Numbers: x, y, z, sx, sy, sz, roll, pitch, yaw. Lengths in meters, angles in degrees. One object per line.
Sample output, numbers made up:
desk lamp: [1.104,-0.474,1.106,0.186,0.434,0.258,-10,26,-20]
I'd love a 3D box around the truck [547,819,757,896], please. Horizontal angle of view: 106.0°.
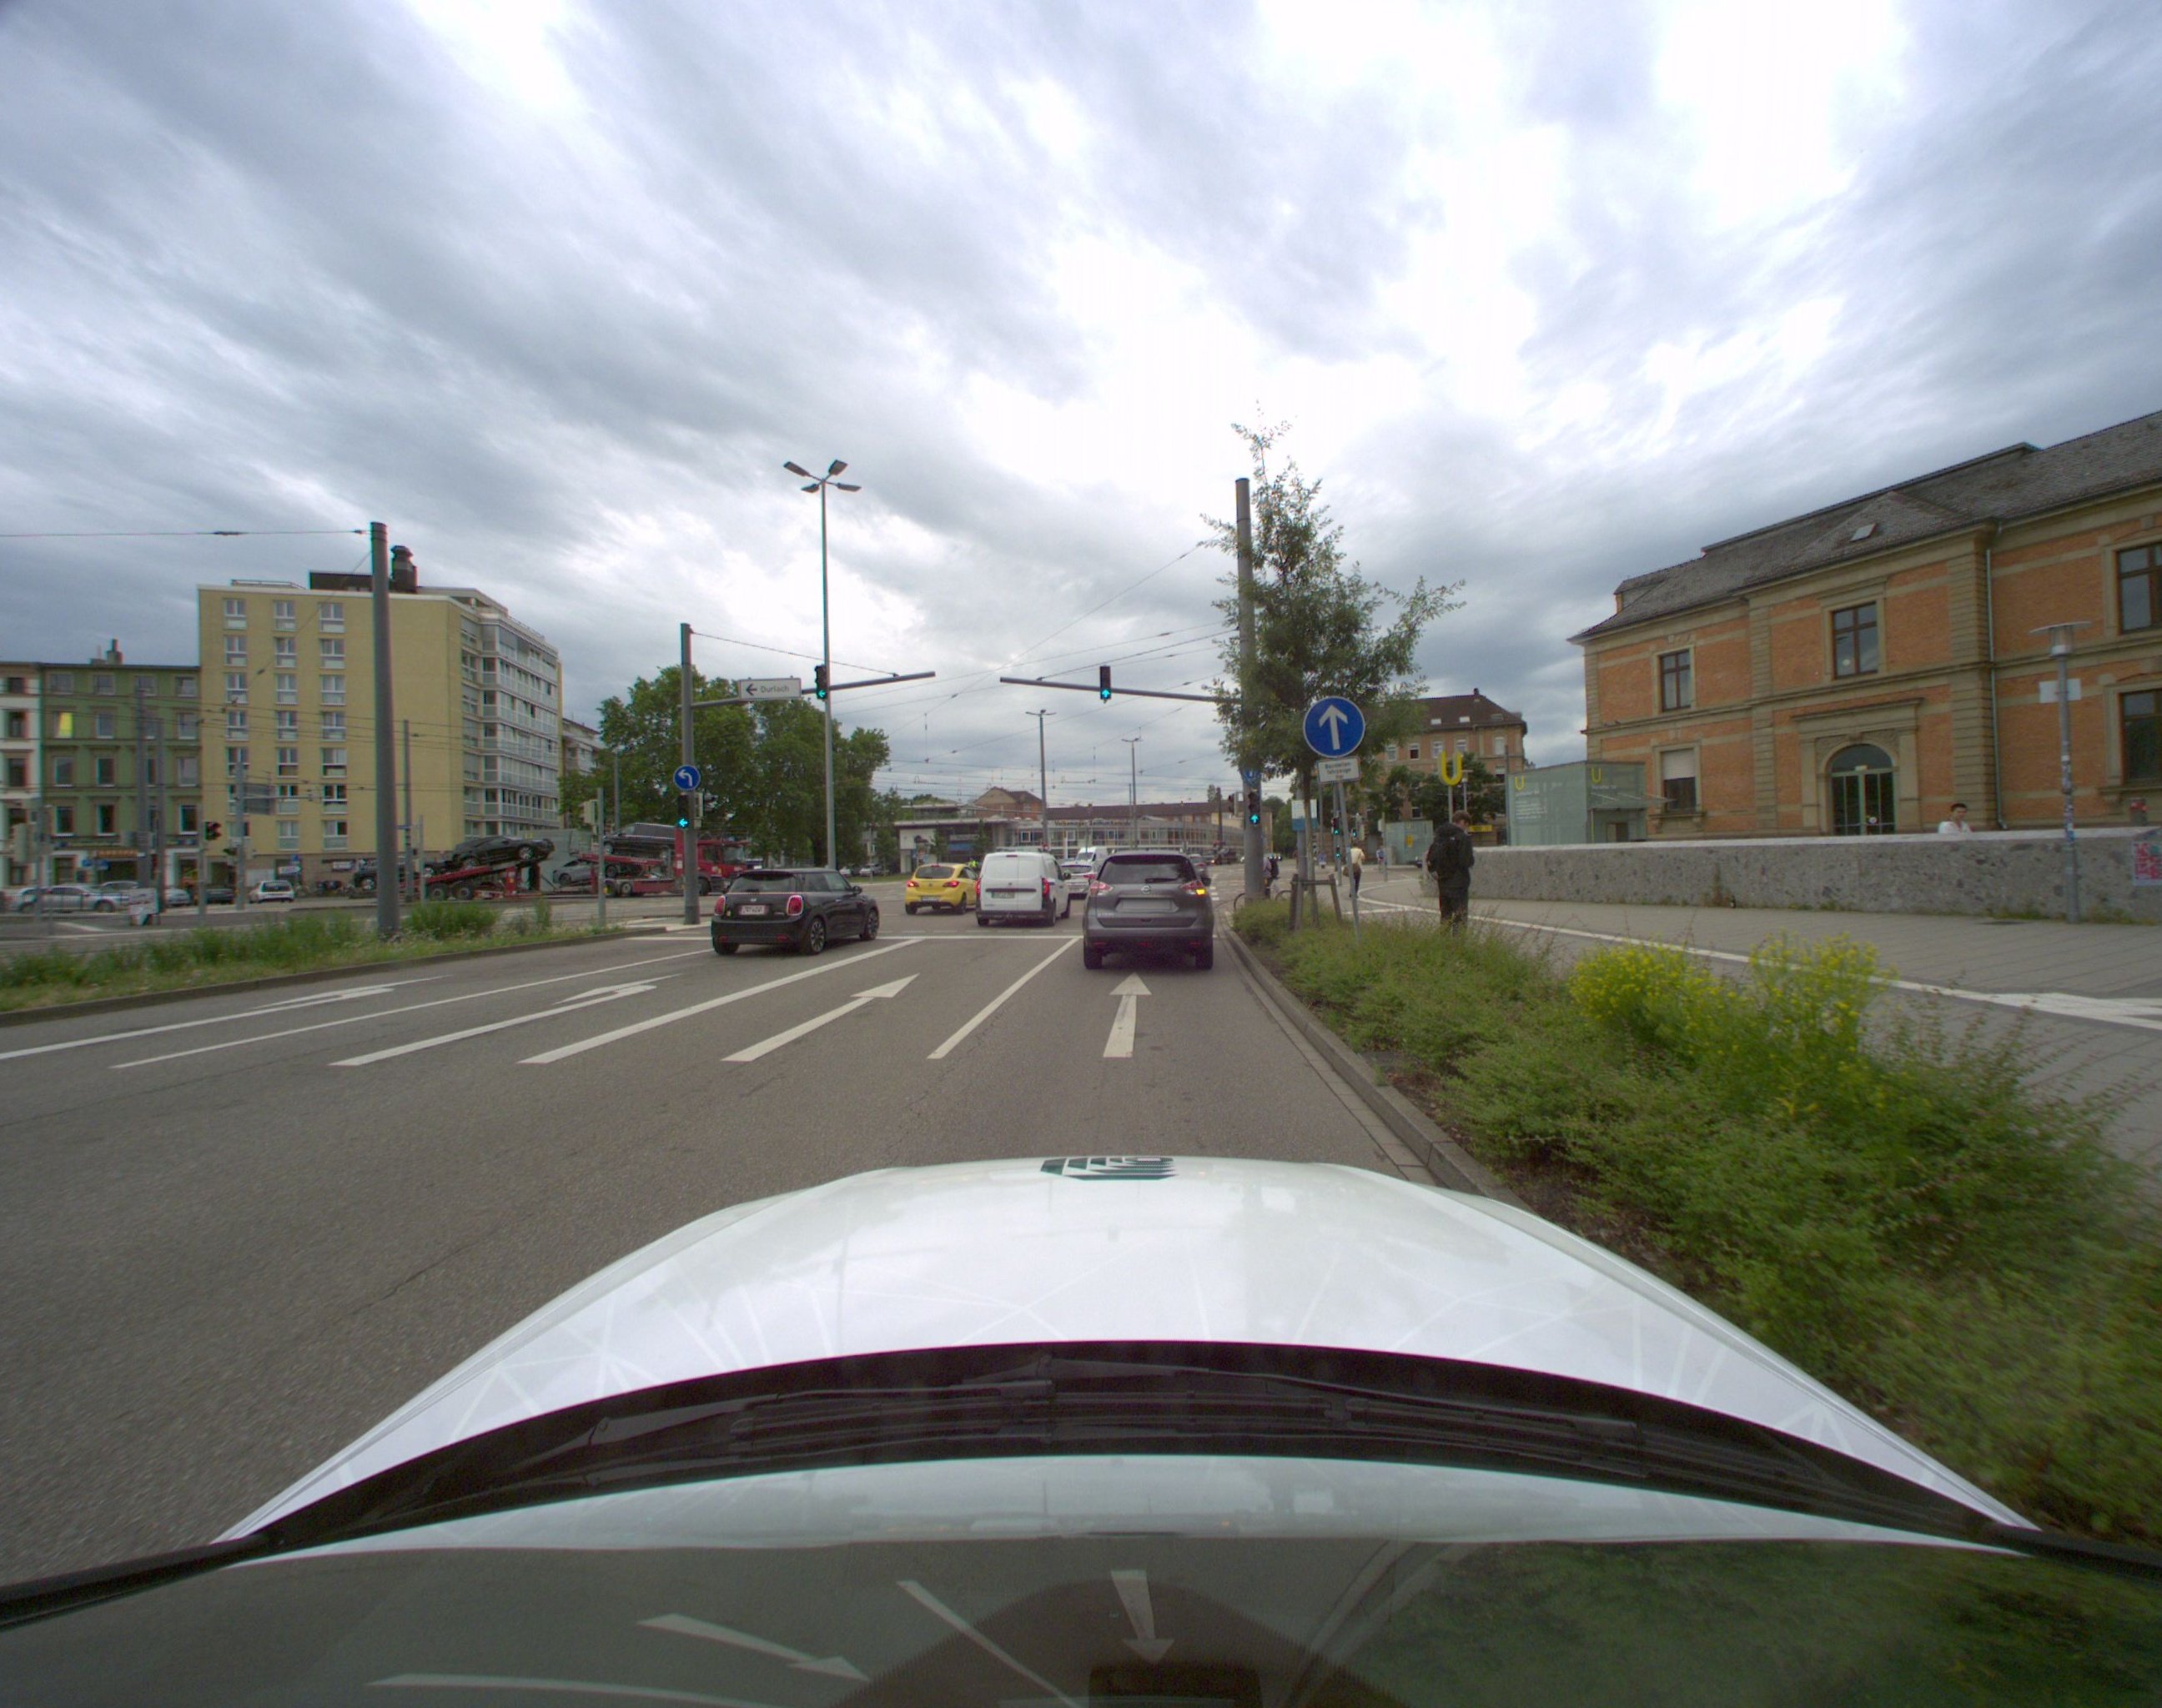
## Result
truck: [-23.157,0.239,44.124,10.356,3.920,3.024,-1,-1,10]

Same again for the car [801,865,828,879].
car: [-38.209,2.565,116.866,1.982,2.014,4.010,-1,-1,9]

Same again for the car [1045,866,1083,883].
car: [-1.558,1.884,76.732,1.977,1.420,4.686,-2,0,20]

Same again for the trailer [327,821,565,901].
trailer: [-33.373,0.345,43.292,9.531,3.973,2.984,0,-1,-13]

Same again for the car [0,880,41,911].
car: [-66.073,2.526,50.158,3.950,1.755,2.094,-1,-1,44]

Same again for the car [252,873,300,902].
car: [-52.276,2.121,52.867,3.950,1.755,2.094,-1,-1,44]

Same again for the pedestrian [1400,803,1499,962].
pedestrian: [4.708,0.346,10.409,0.876,1.928,0.718,-1,-1,-28]

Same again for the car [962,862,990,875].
car: [-12.515,1.757,97.112,1.621,1.420,3.758,-2,0,23]

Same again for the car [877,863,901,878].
car: [-27.204,2.350,115.395,1.982,2.014,4.010,-1,-1,9]

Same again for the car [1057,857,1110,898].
car: [0.158,0.893,32.219,1.845,1.508,4.004,0,-1,4]

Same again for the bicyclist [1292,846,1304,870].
bicyclist: [15.513,0.268,58.217,0.683,1.708,0.800,-2,-1,9]

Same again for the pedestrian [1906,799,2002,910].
pedestrian: [14.738,0.001,13.769,0.702,1.805,0.835,-1,-1,-14]

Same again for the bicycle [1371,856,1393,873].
bicycle: [19.857,0.690,53.686,0.664,0.933,1.871,-6,-2,41]

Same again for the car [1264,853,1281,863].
car: [35.211,0.712,149.578,1.975,1.839,4.550,-2,0,27]

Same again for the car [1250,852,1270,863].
car: [31.348,0.618,142.261,1.974,1.839,4.552,-2,0,32]

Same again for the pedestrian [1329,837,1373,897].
pedestrian: [8.703,0.413,26.202,0.876,1.867,1.294,-2,-1,39]

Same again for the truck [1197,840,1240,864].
truck: [21.663,-0.278,127.630,2.767,3.549,9.282,-1,-1,36]

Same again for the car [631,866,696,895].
car: [-30.294,1.914,59.218,4.002,2.014,1.986,0,-1,-22]

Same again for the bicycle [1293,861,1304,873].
bicycle: [15.529,0.913,58.169,0.615,0.793,1.596,-2,0,9]

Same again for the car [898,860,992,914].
car: [-4.061,0.953,24.952,1.808,1.494,4.007,0,0,6]

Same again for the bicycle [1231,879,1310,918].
bicycle: [4.823,1.131,20.846,1.814,0.840,0.767,-4,-1,1]

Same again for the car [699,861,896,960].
car: [-4.881,0.901,14.662,1.760,1.468,4.007,-2,0,6]

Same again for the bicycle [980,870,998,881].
bicycle: [-8.607,1.995,76.300,0.513,0.926,2.236,-2,0,25]

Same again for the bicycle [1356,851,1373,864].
bicycle: [30.845,0.397,88.557,0.948,1.354,3.140,-1,-1,34]

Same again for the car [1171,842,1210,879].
car: [6.300,0.384,47.197,1.984,2.014,4.005,0,-1,5]

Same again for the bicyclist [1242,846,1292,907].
bicyclist: [4.759,0.564,20.860,1.093,1.520,0.760,-2,-1,1]

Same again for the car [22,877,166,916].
car: [-47.921,2.022,39.644,3.993,1.728,1.990,0,-1,-15]

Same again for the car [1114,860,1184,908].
car: [2.344,0.941,27.034,1.982,1.420,4.010,-2,0,9]

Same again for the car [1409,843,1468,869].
car: [28.351,0.170,64.595,4.388,1.900,1.682,-1,-1,-21]

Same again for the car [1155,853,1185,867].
car: [12.473,0.793,113.713,2.136,1.856,5.481,-2,0,30]

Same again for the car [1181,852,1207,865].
car: [16.744,0.715,120.473,1.974,1.839,4.552,-2,0,32]

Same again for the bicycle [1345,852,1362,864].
bicycle: [29.825,0.449,89.092,0.948,1.354,3.140,-1,-1,34]

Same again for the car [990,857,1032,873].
car: [-8.728,1.345,101.717,4.725,2.014,2.132,-1,-1,20]

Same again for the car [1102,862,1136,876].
car: [4.283,1.632,91.558,1.975,1.420,4.830,-2,0,27]

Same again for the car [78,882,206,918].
car: [-49.567,2.391,43.091,3.993,1.728,1.990,0,-1,-15]

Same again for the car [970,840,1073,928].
car: [-1.370,0.695,20.431,1.903,1.940,4.136,-2,0,5]

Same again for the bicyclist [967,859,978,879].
bicyclist: [-9.803,1.333,73.402,0.622,1.803,0.802,-2,-1,25]

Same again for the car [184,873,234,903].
car: [-54.512,2.092,50.960,3.950,1.755,2.094,-1,-1,44]

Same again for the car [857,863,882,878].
car: [-29.997,2.374,115.848,1.982,2.014,4.010,-1,-1,9]

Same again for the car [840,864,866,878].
car: [-32.494,2.402,116.098,1.982,2.014,4.010,-1,-1,9]

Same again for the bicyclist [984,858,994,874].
bicyclist: [-8.627,1.133,76.261,0.560,1.508,0.862,-2,1,25]

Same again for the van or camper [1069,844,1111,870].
van or camper: [0.990,0.314,84.918,2.394,2.611,6.083,-1,-1,21]

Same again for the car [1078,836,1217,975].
car: [1.054,0.710,12.583,1.741,1.756,3.929,-2,-1,5]

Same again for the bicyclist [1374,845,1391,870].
bicyclist: [19.867,0.252,53.733,0.684,1.560,0.932,-4,-1,40]

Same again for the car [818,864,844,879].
car: [-35.616,2.445,116.156,1.982,2.014,4.010,-1,-1,9]

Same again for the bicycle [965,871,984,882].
bicycle: [-9.639,2.007,73.713,0.513,0.930,2.236,-2,0,25]

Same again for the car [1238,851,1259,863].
car: [28.078,0.483,136.613,1.974,1.839,4.552,-2,0,32]

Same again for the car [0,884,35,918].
car: [-57.398,2.439,41.901,3.993,1.728,1.990,0,-1,-15]

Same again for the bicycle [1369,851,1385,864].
bicycle: [32.004,0.383,87.972,0.948,1.354,3.140,-1,-1,34]
